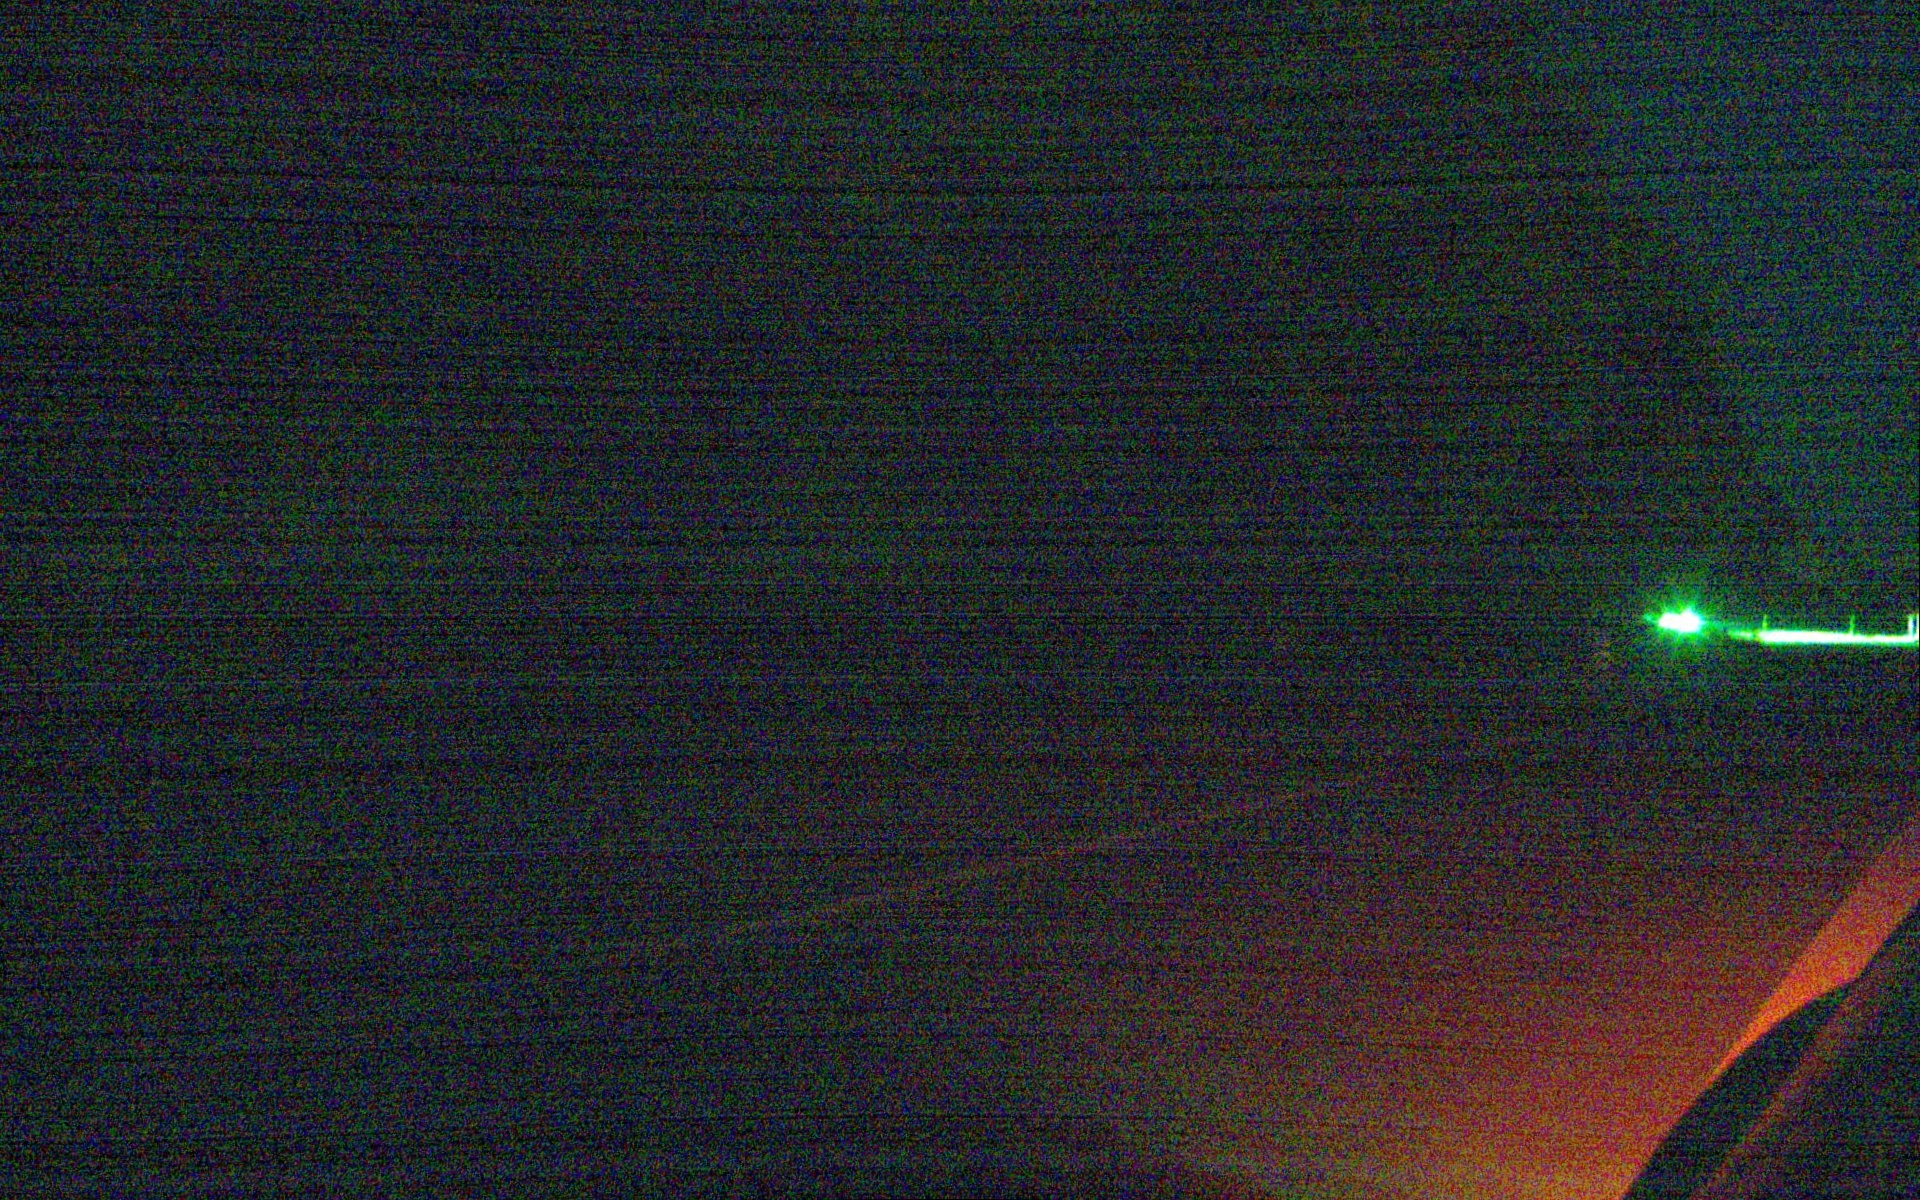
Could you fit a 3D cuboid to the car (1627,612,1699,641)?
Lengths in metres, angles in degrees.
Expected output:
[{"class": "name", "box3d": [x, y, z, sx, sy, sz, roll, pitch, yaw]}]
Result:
[{"class": "car", "box3d": [49.561, 1.882, 71.483, 1.960, 1.878, 4.002, -2, -2, -5]}]
